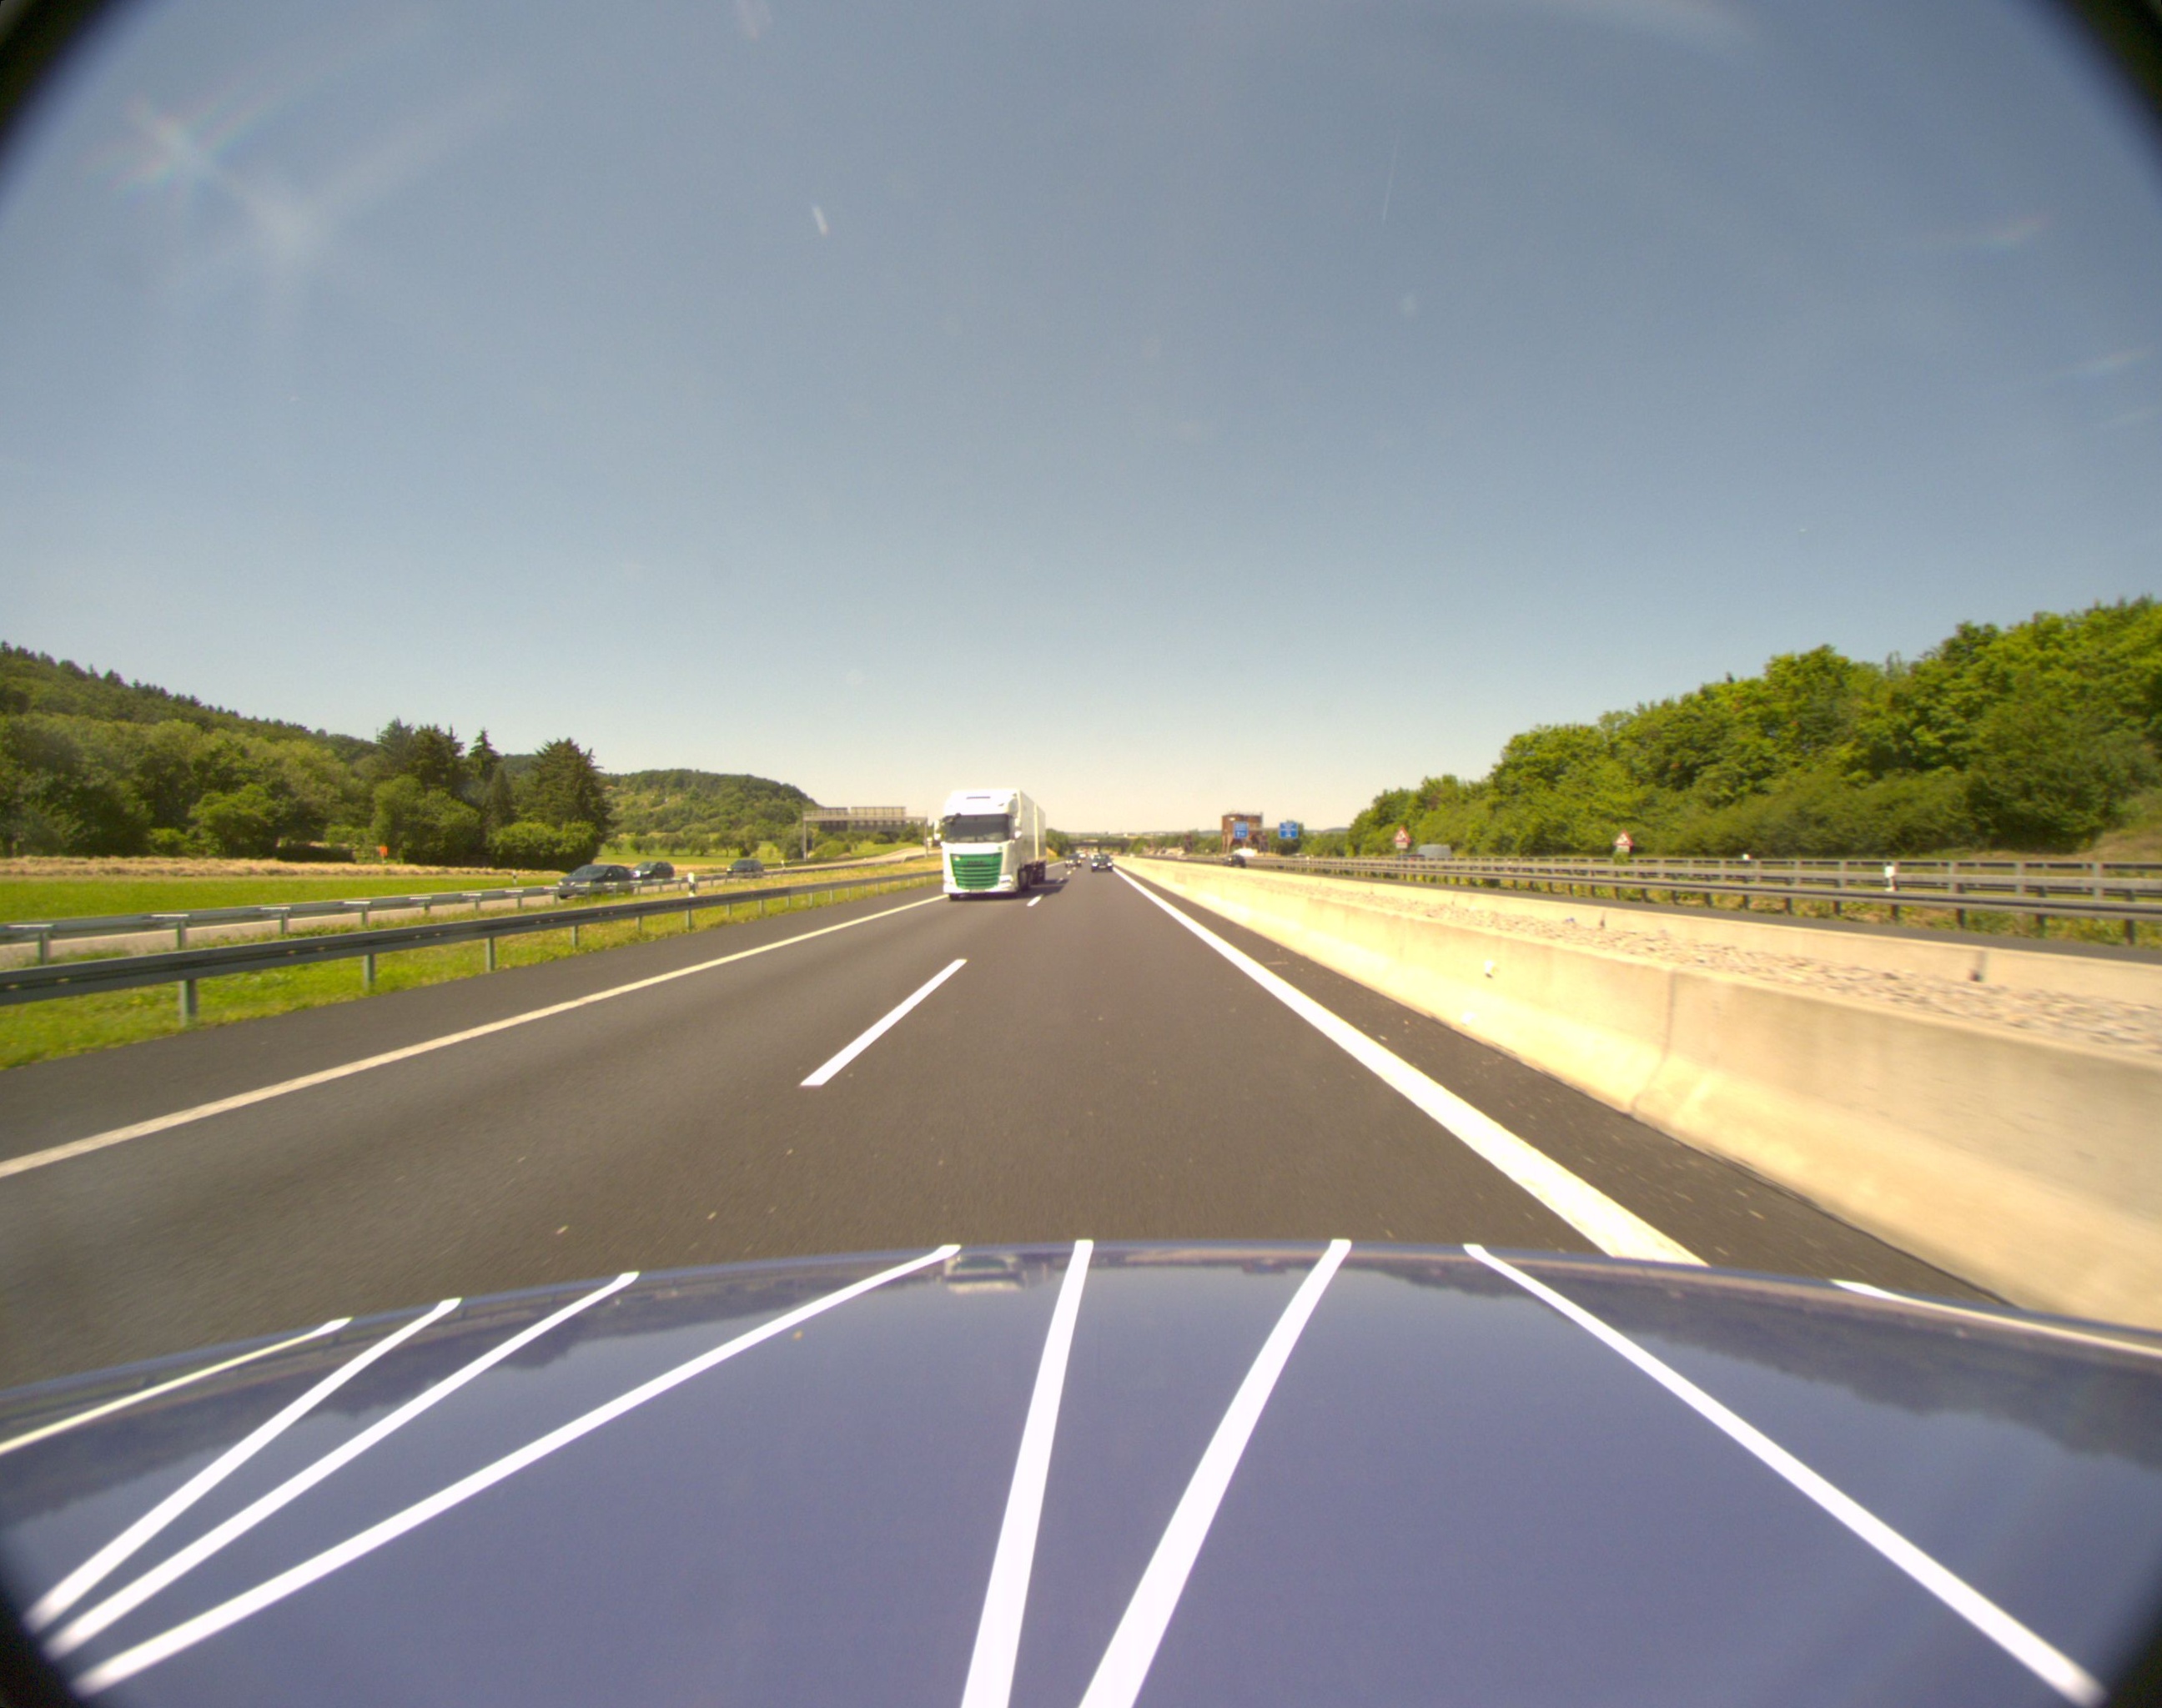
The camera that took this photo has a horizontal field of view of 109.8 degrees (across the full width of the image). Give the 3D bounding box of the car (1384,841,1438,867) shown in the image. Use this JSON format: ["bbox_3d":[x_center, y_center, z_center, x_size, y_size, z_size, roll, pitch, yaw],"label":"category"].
[{"bbox_3d":[25.348,-0.026,58.561,1.998,1.847,5.037,-1,0,1],"label":"car"}]

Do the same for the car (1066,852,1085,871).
[{"bbox_3d":[-0.567,0.828,85.194,1.998,2.002,3.999,-2,1,1],"label":"car"}]

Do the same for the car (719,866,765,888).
[{"bbox_3d":[-25.477,1.697,57.208,1.892,1.464,3.865,-2,1,-4],"label":"car"}]

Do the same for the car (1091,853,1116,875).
[{"bbox_3d":[1.749,0.771,59.833,1.799,1.574,3.999,-2,1,1],"label":"car"}]

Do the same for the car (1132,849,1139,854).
[{"bbox_3d":[18.110,-0.796,253.999,1.998,1.831,5.084,1,0,2],"label":"car"}]

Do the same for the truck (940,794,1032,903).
[{"bbox_3d":[-3.360,-0.211,27.970,2.649,3.572,4.403,-2,1,0],"label":"truck"}]

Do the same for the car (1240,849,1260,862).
[{"bbox_3d":[26.899,0.212,121.205,1.998,2.002,5.348,-2,1,1],"label":"car"}]

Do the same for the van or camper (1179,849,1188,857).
[{"bbox_3d":[32.492,-0.295,241.116,2.112,2.242,6.966,-2,1,1],"label":"van or camper"}]

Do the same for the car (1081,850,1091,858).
[{"bbox_3d":[1.071,0.079,162.573,1.998,1.574,4.000,-3,0,2],"label":"car"}]

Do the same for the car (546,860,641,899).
[{"bbox_3d":[-20.760,1.048,32.545,1.782,1.392,3.759,-2,1,-5],"label":"car"}]

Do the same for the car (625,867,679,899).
[{"bbox_3d":[-30.774,2.046,54.666,2.000,2.002,3.996,-3,1,-8],"label":"car"}]

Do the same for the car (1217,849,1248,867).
[{"bbox_3d":[13.439,0.341,67.573,1.838,1.525,4.158,1,1,-1],"label":"car"}]

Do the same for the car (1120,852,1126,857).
[{"bbox_3d":[14.129,0.176,257.885,1.799,1.586,4.307,-1,0,-1],"label":"car"}]

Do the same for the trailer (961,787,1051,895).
[{"bbox_3d":[-3.284,-0.591,37.626,2.663,4.164,14.893,-2,1,1],"label":"trailer"}]

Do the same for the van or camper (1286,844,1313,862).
[{"bbox_3d":[25.939,-0.177,90.298,1.998,2.002,3.999,-2,1,1],"label":"van or camper"}]

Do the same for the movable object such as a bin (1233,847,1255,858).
[{"bbox_3d":[30.899,-0.333,144.257,2.513,2.002,6.779,-2,1,0],"label":"movable object such as a bin"}]

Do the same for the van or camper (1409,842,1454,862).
[{"bbox_3d":[33.926,-0.221,73.671,1.998,1.788,5.529,-1,0,3],"label":"van or camper"}]
